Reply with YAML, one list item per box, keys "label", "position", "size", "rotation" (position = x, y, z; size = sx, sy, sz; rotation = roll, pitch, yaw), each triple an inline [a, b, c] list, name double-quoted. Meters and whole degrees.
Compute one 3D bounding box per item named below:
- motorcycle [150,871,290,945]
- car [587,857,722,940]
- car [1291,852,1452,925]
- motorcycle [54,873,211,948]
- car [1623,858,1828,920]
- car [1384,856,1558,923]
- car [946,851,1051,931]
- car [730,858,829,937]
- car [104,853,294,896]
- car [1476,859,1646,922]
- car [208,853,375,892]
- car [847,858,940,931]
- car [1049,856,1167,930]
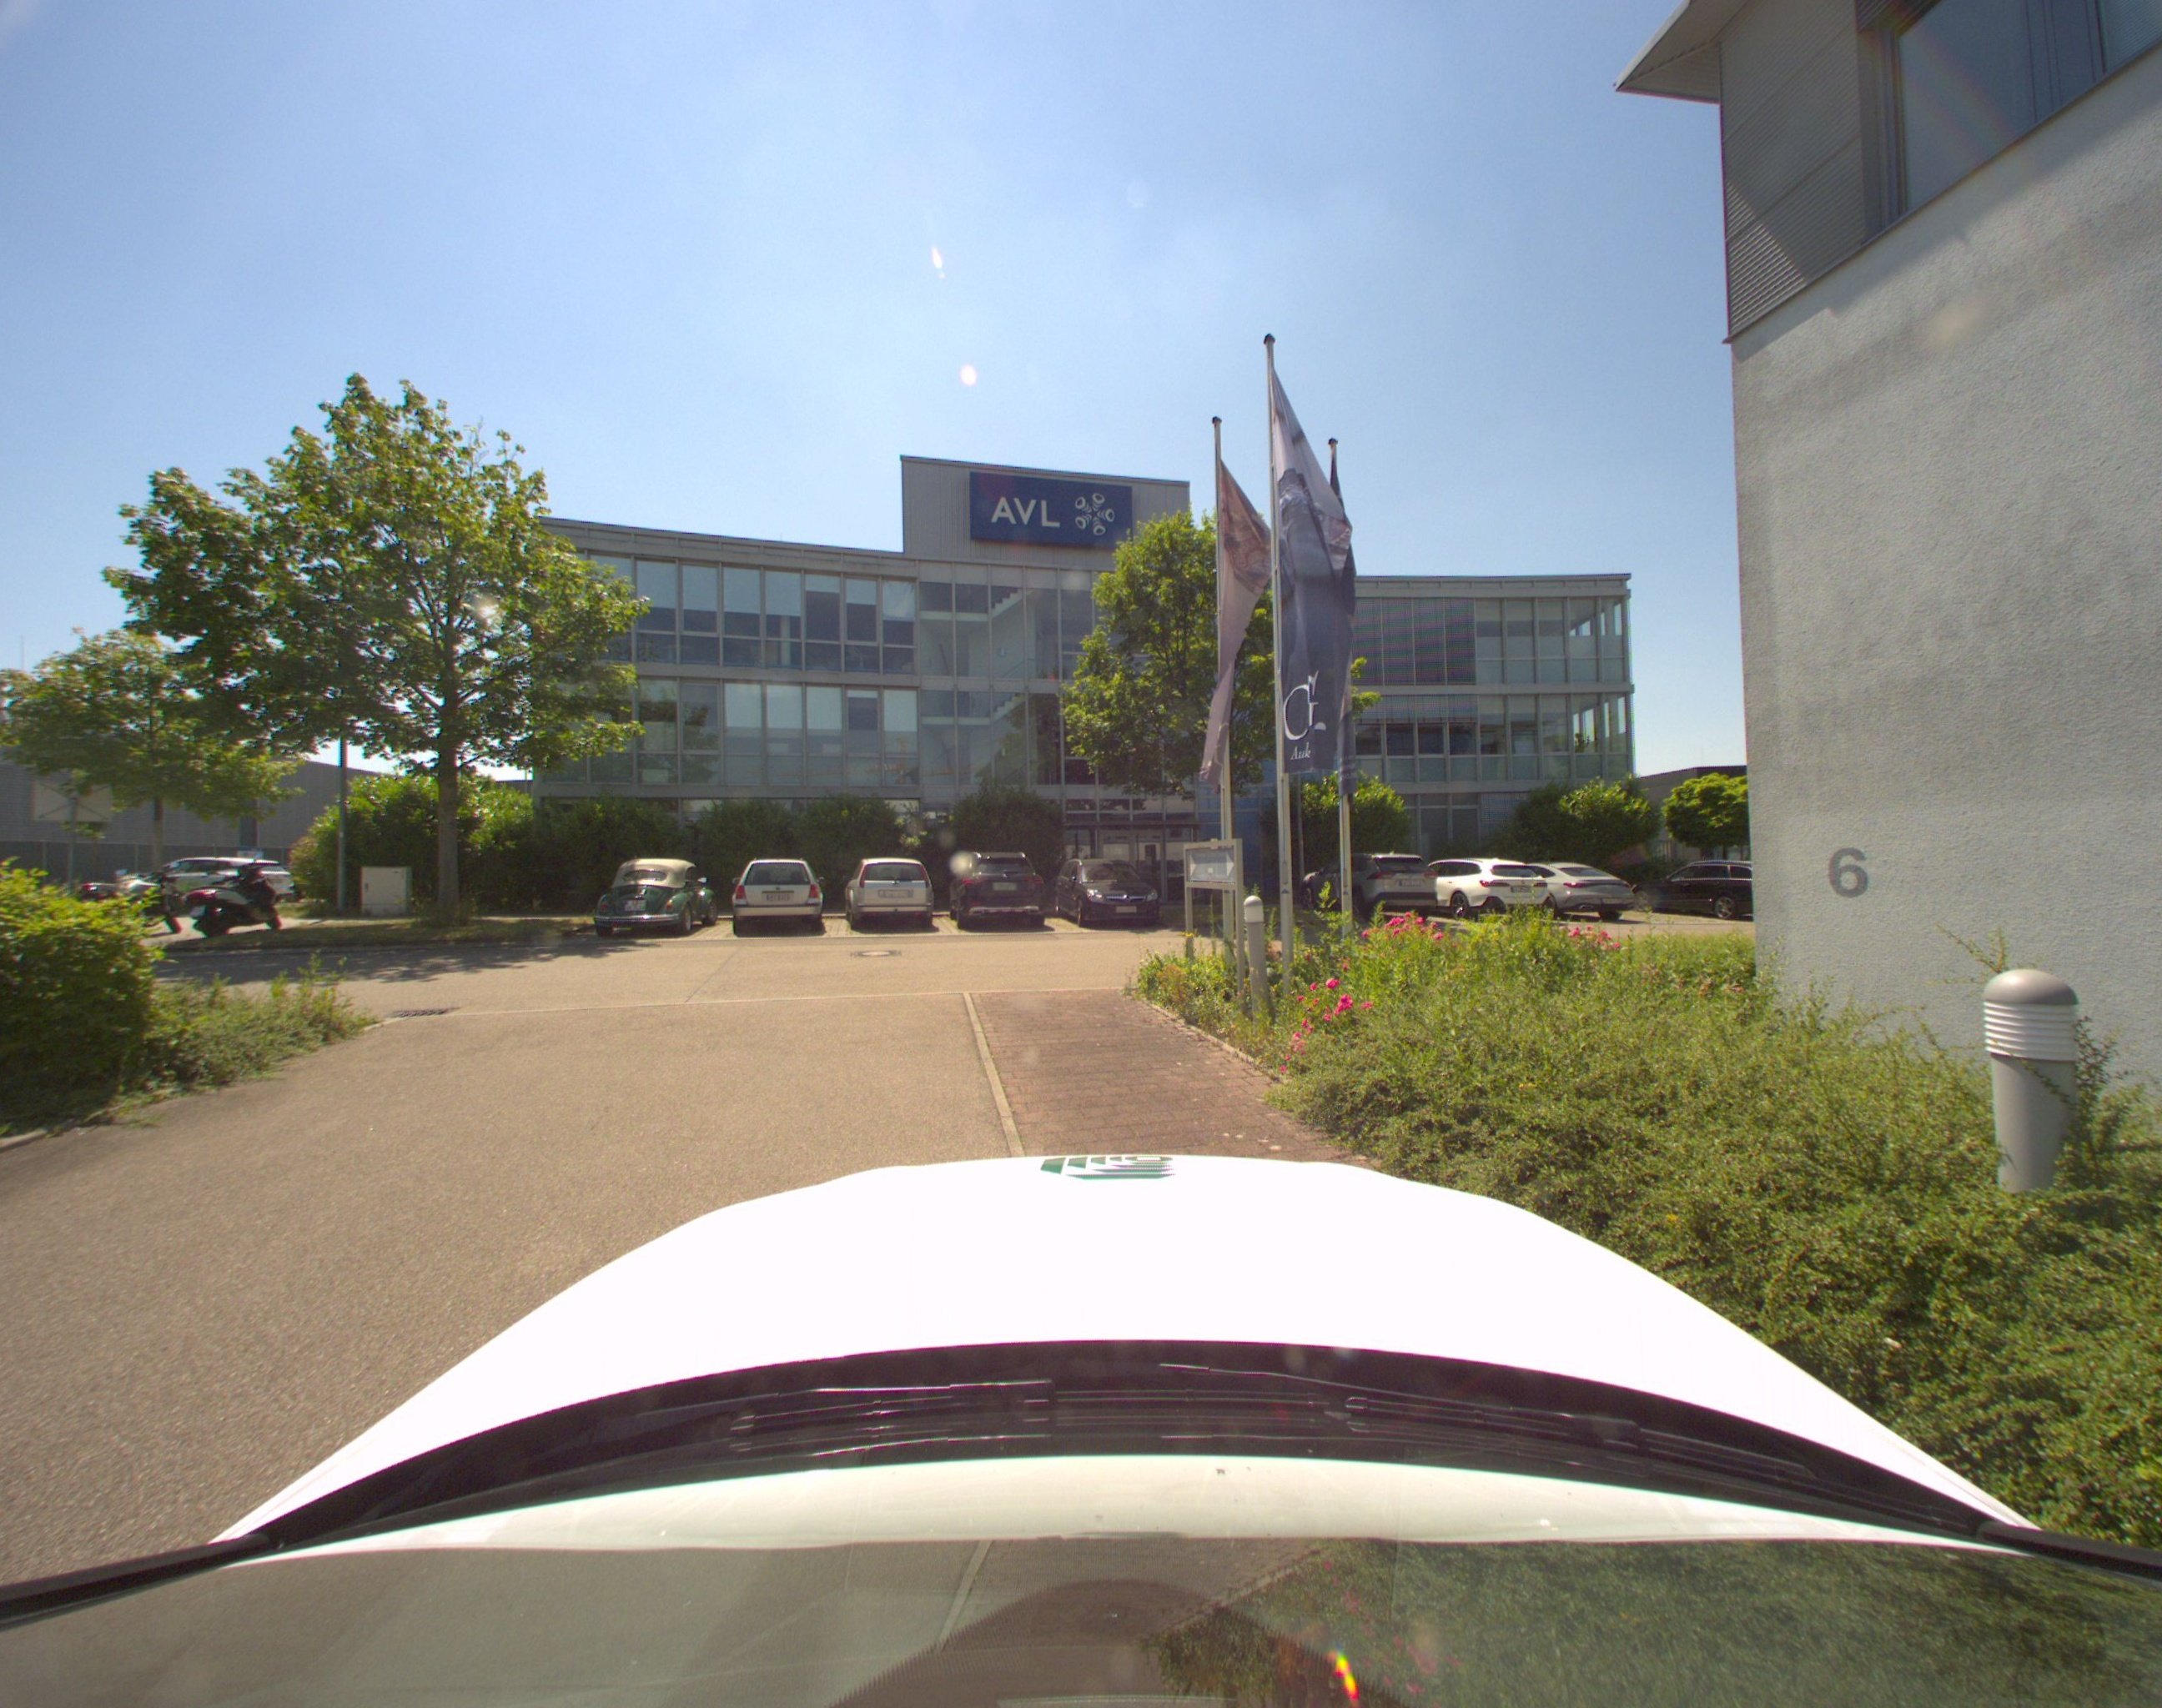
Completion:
- label: "motorcycle"
  position: [-15.131, 0.906, 14.396]
  size: [0.714, 1.138, 1.949]
  rotation: [-1, 0, -12]
- label: "car"
  position: [-8.490, 0.808, 16.508]
  size: [1.543, 1.449, 3.637]
  rotation: [0, 0, -13]
- label: "car"
  position: [7.195, 0.766, 20.683]
  size: [1.821, 1.619, 4.321]
  rotation: [-1, 0, -13]
- label: "motorcycle"
  position: [-16.352, 0.937, 14.128]
  size: [0.714, 1.138, 1.949]
  rotation: [-1, 0, -12]
- label: "car"
  position: [16.891, 0.847, 21.689]
  size: [1.732, 1.447, 4.543]
  rotation: [0, 0, -3]
- label: "car"
  position: [9.759, 0.821, 20.814]
  size: [1.737, 1.492, 4.321]
  rotation: [0, 0, -13]
- label: "car"
  position: [-2.007, 0.756, 18.700]
  size: [1.929, 1.610, 3.969]
  rotation: [0, 0, -13]
- label: "car"
  position: [-6.279, 0.823, 17.280]
  size: [1.736, 1.449, 3.633]
  rotation: [0, 0, -17]
- label: "car"
  position: [-32.026, 0.721, 29.662]
  size: [4.820, 1.491, 2.001]
  rotation: [0, 0, 2]
- label: "car"
  position: [12.343, 0.870, 21.325]
  size: [1.732, 1.429, 4.334]
  rotation: [0, 0, -3]
- label: "car"
  position: [-31.502, 0.721, 32.590]
  size: [4.820, 1.491, 2.001]
  rotation: [0, 0, 2]
- label: "car"
  position: [-4.310, 0.823, 18.359]
  size: [1.769, 1.449, 3.633]
  rotation: [0, 0, -17]
- label: "car"
  position: [0.507, 0.813, 19.244]
  size: [1.771, 1.482, 4.240]
  rotation: [-1, 0, -13]
